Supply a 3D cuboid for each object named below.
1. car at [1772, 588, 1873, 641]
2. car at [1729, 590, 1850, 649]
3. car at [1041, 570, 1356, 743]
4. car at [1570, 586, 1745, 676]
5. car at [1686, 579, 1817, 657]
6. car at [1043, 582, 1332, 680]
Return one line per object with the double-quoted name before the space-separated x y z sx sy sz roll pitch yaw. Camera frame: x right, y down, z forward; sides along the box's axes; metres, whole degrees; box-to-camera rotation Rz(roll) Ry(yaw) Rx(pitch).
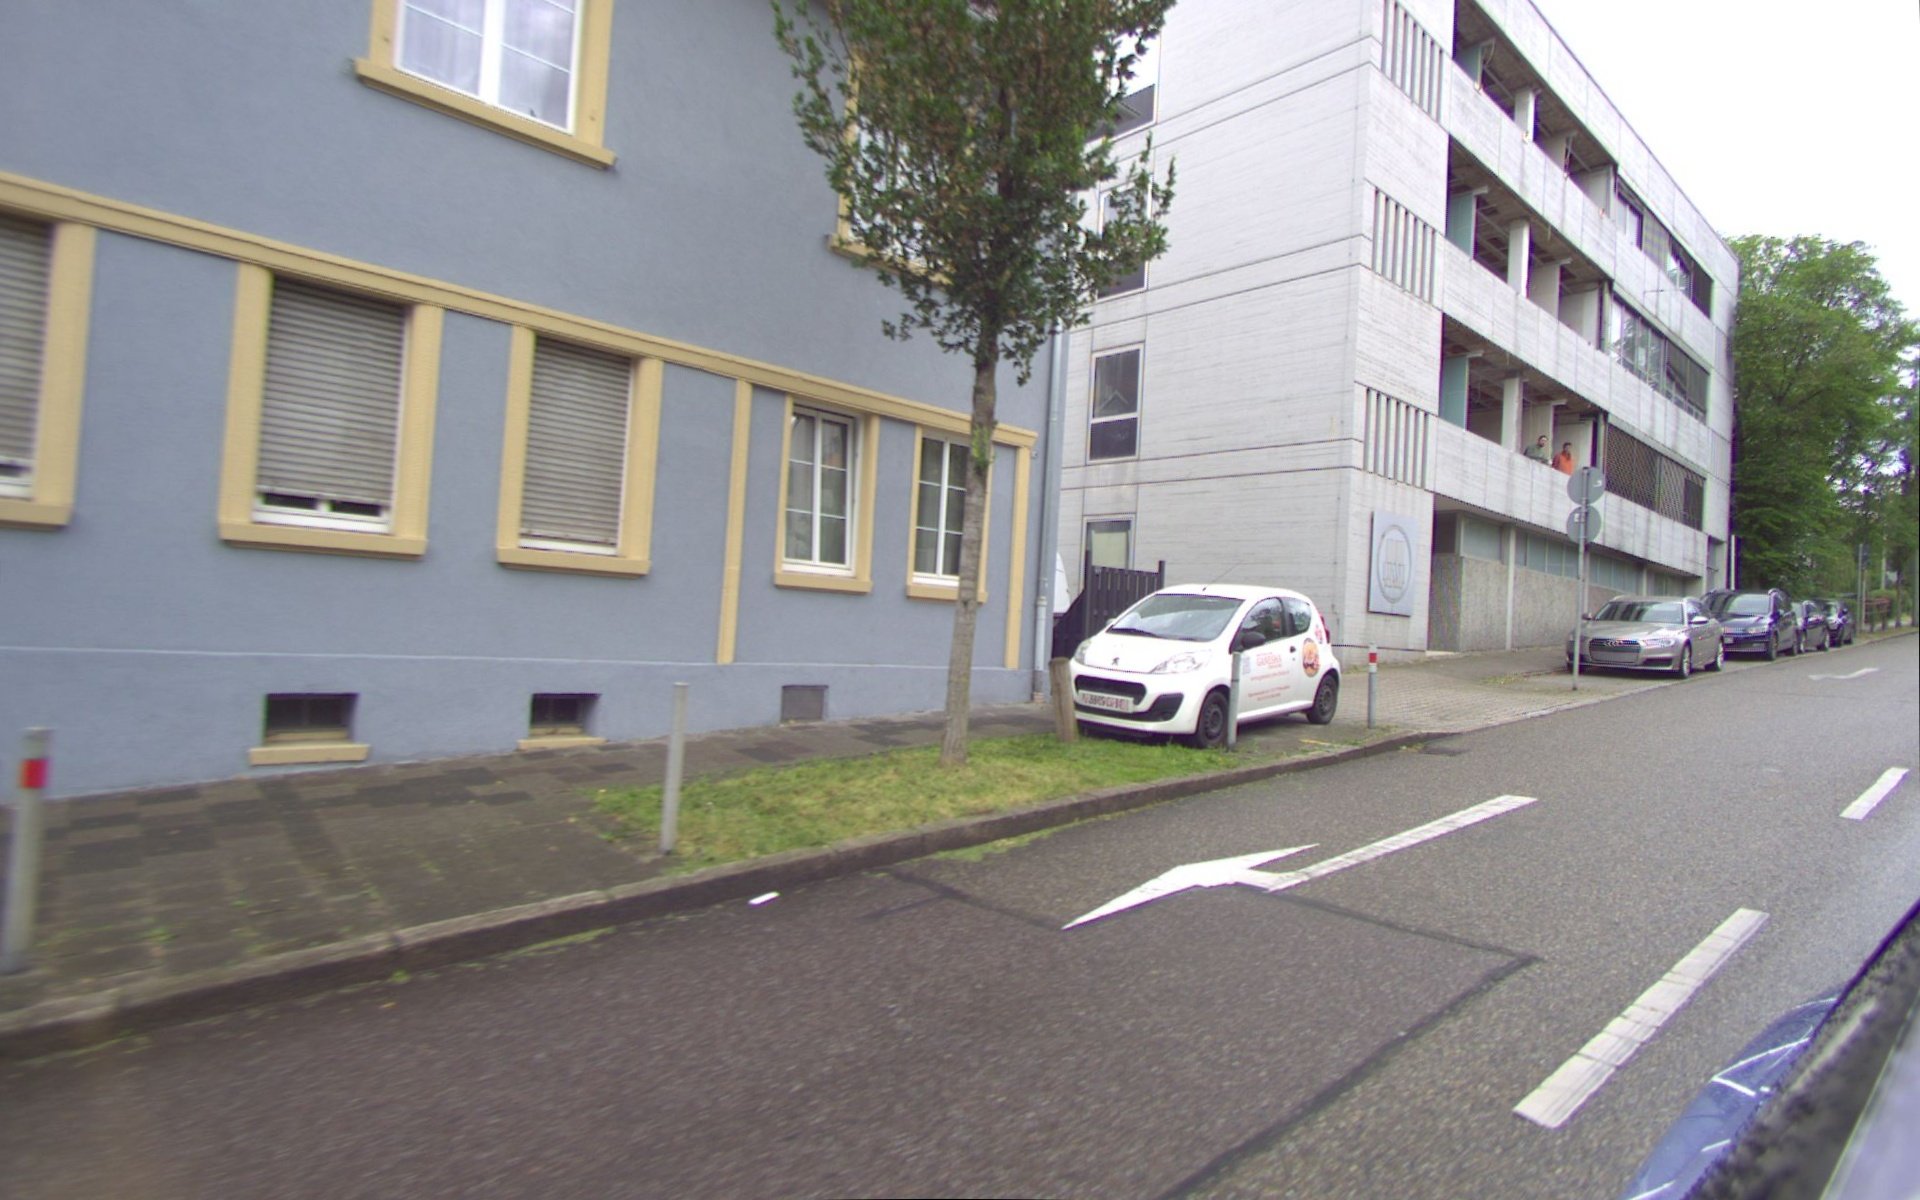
"car" 26.898 0.394 31.512 4.085 1.462 1.842 0 3 -42
"car" 22.426 0.472 27.314 4.023 1.462 1.711 0 1 -38
"car" 2.548 0.458 10.396 1.587 1.429 3.400 4 3 45
"car" 13.382 0.496 19.312 4.662 1.477 1.816 -1 1 -43
"car" 19.084 0.363 24.332 4.270 1.695 1.747 0 1 -42
"car" 3.700 0.453 16.750 4.337 1.425 1.787 0 0 34
